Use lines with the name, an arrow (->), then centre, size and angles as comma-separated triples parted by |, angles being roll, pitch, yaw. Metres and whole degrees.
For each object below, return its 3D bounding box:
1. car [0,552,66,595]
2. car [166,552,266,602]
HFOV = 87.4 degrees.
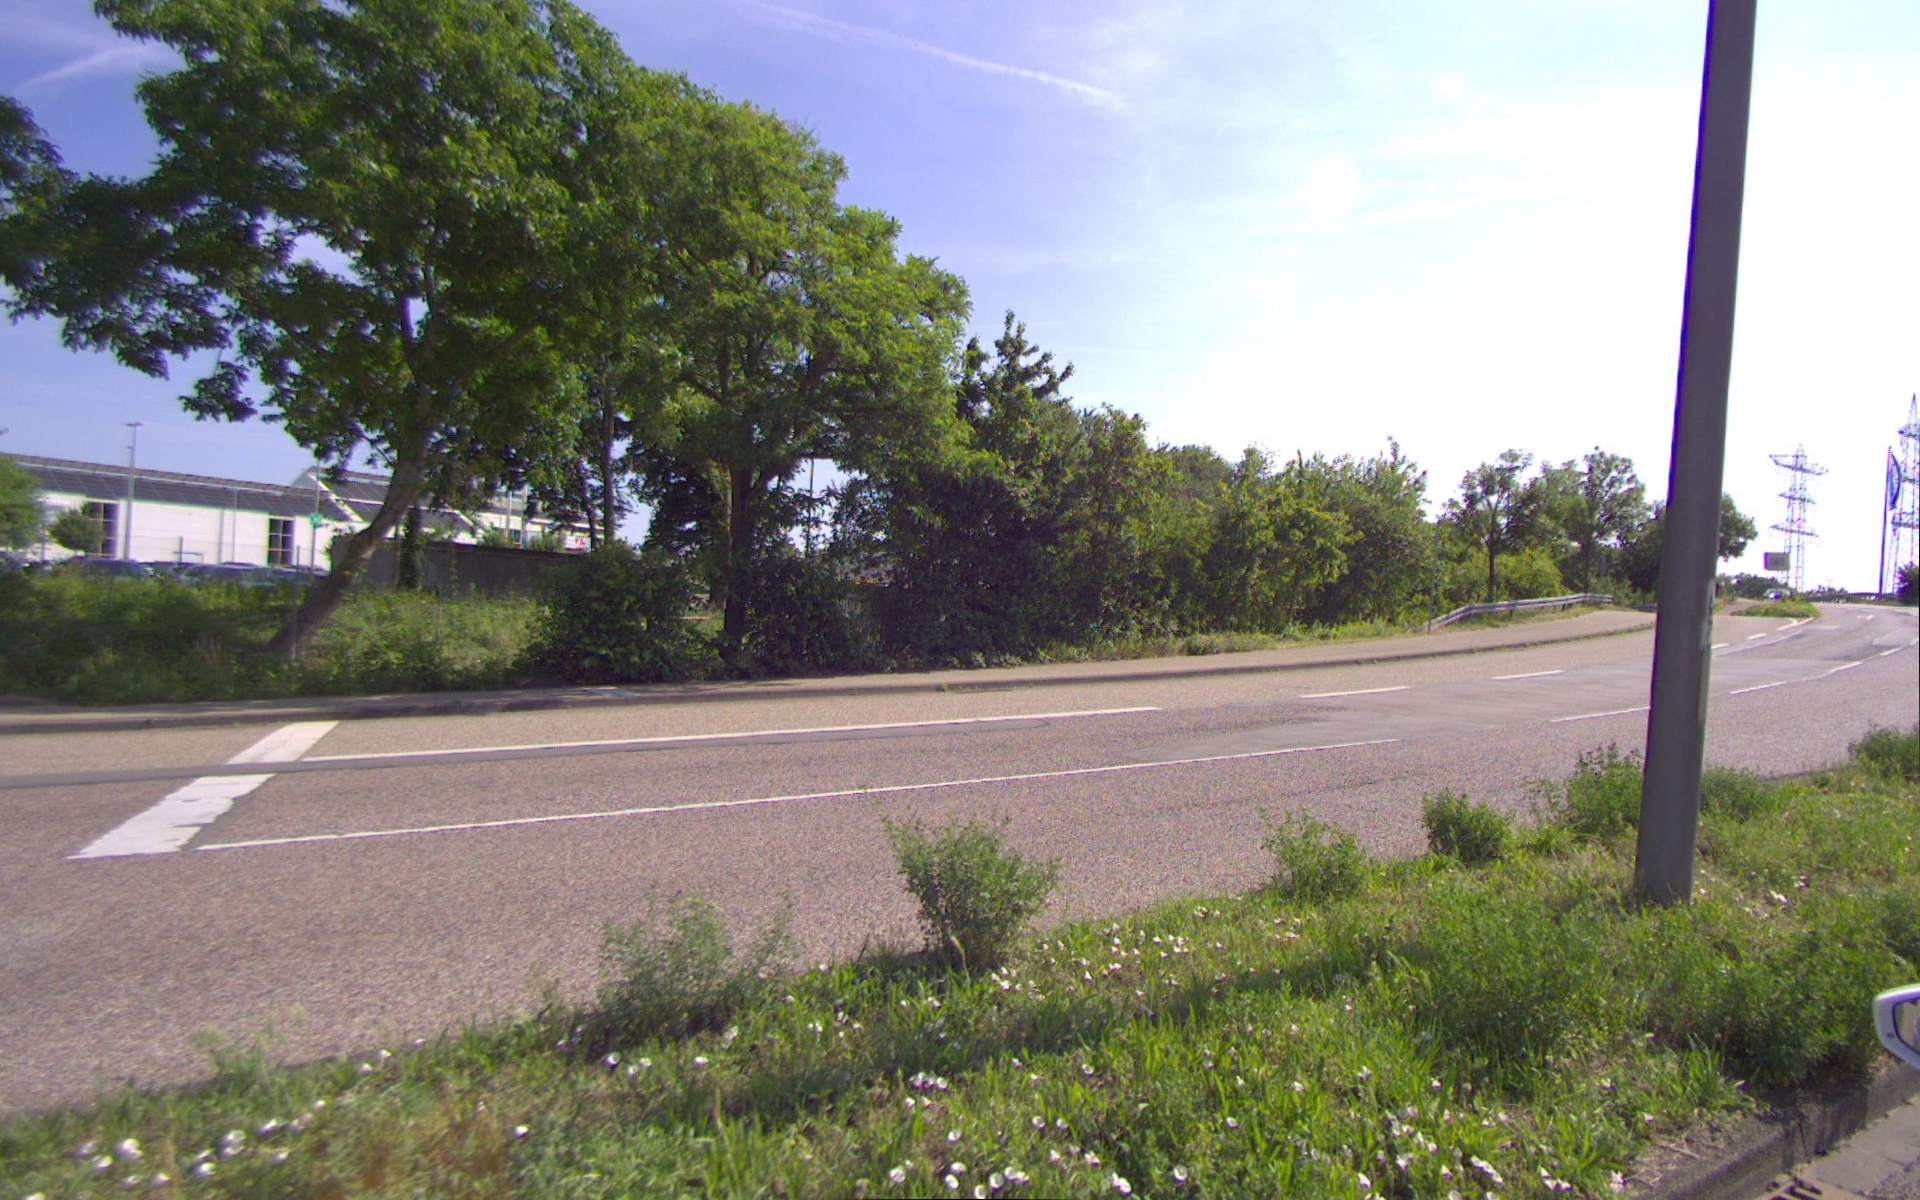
car -> -33.453, -0.952, 34.794 | 3.574, 1.417, 1.546 | 2, 2, -39
car -> -24.098, -0.756, 32.497 | 3.941, 1.417, 1.793 | 4, 2, 41
